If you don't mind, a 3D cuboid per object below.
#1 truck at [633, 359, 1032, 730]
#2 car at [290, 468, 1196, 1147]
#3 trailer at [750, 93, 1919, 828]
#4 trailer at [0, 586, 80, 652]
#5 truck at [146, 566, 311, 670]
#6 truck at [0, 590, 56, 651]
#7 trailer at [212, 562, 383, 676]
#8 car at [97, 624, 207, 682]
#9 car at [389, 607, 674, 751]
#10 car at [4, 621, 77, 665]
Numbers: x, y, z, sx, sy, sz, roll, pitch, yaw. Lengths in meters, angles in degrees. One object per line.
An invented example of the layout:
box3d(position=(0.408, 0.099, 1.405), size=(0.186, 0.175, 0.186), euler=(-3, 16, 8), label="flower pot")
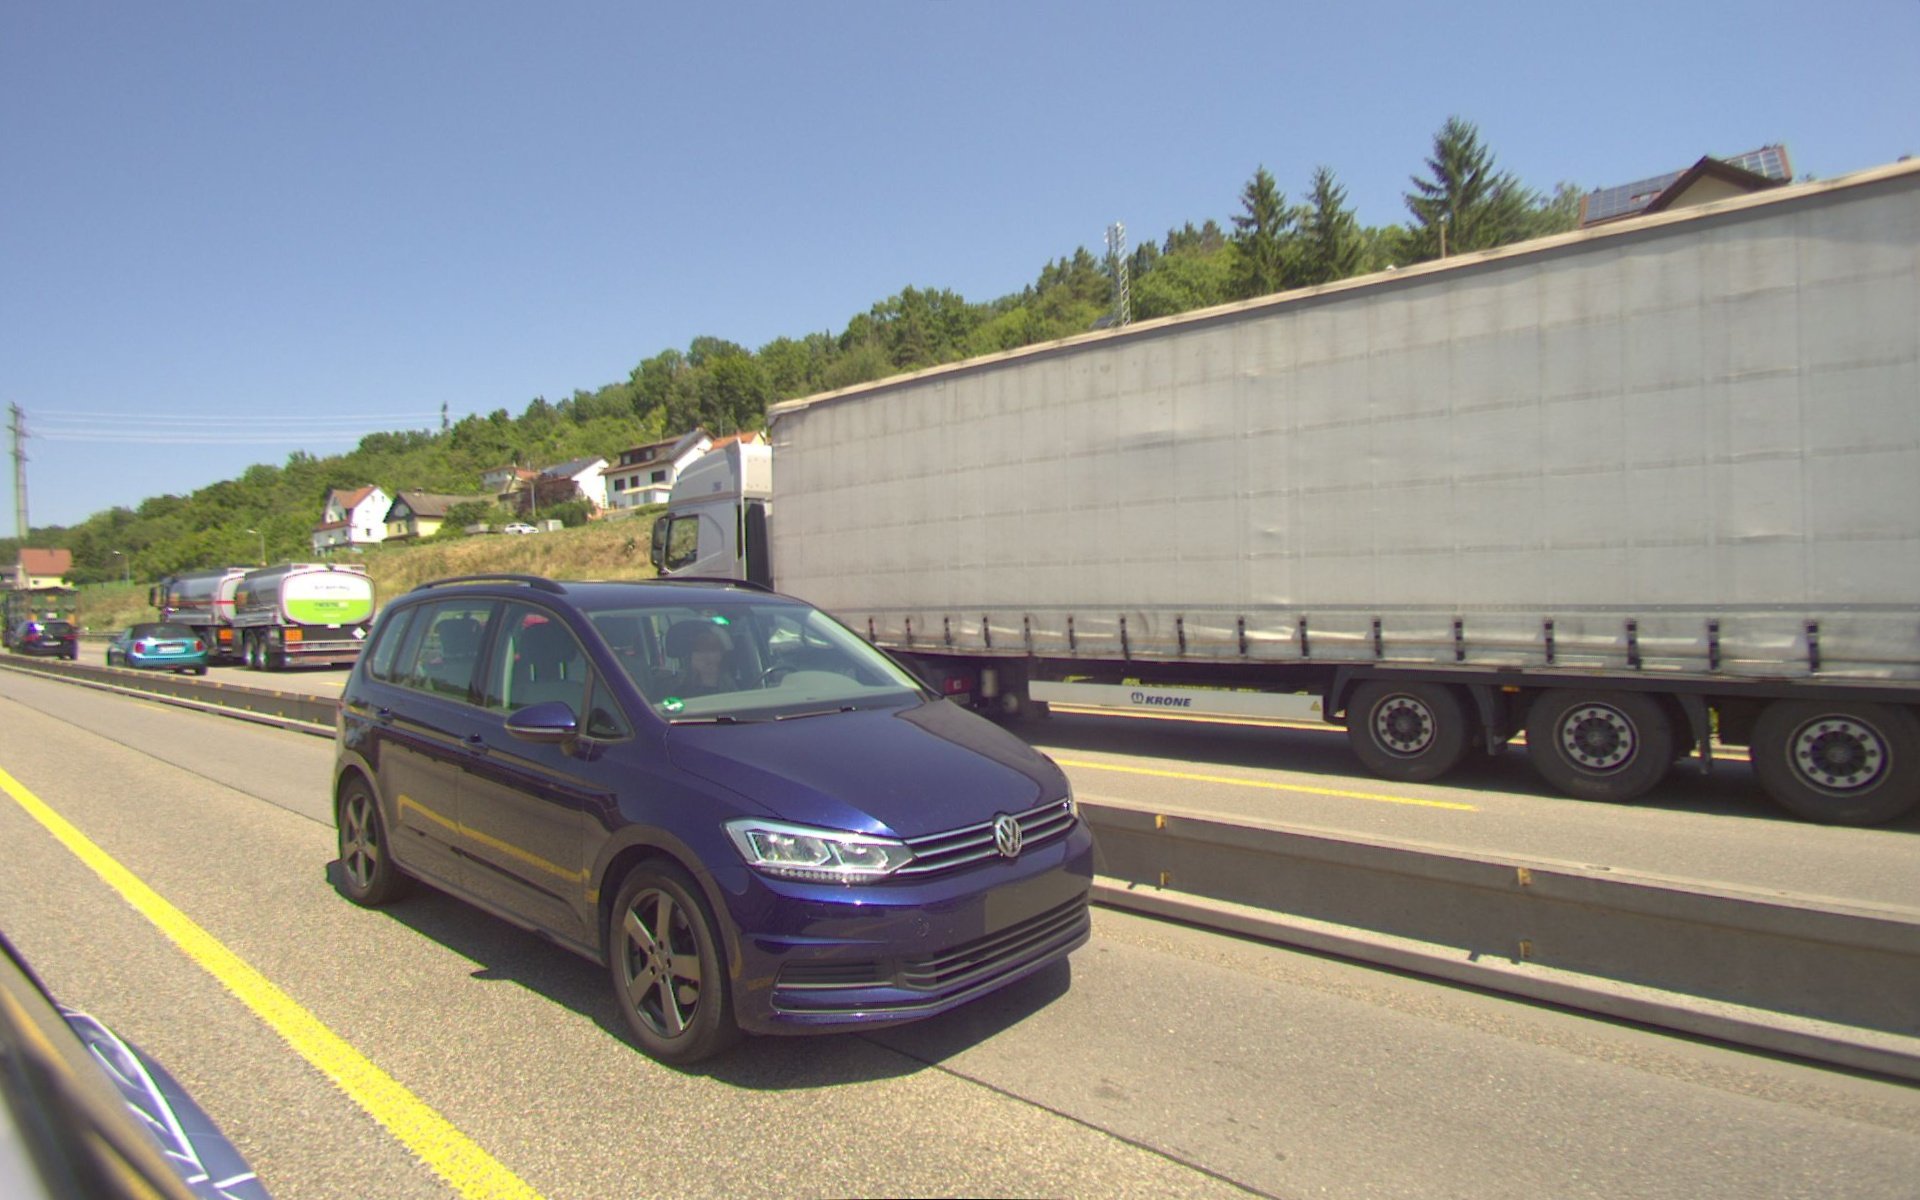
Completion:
box3d(position=(-1.945, -0.586, 14.260), size=(5.285, 4.213, 2.717), euler=(-2, -1, 41), label="truck")
box3d(position=(-1.425, 0.588, 4.795), size=(4.650, 1.731, 1.757), euler=(-2, -1, 41), label="car")
box3d(position=(3.432, -0.728, 9.485), size=(13.973, 4.213, 2.756), euler=(-1, -1, 42), label="trailer")
box3d(position=(-59.665, 1.263, 65.346), size=(10.521, 3.968, 2.882), euler=(-2, -1, 41), label="trailer")
box3d(position=(-25.379, 0.633, 34.890), size=(8.955, 3.166, 2.698), euler=(-2, -1, 41), label="truck")
box3d(position=(-64.090, 1.388, 69.194), size=(4.176, 3.968, 2.864), euler=(-2, -1, 41), label="truck")
box3d(position=(-19.595, 0.556, 29.766), size=(6.367, 3.023, 2.585), euler=(-2, -1, 41), label="trailer")
box3d(position=(-21.780, 1.382, 27.238), size=(3.902, 1.405, 1.648), euler=(-2, -1, 41), label="car")
box3d(position=(-5.382, 0.867, 12.474), size=(3.998, 1.477, 1.652), euler=(-1, -1, 41), label="car")
box3d(position=(-37.351, 1.700, 41.081), size=(4.497, 1.647, 1.700), euler=(-2, 0, 41), label="car")
